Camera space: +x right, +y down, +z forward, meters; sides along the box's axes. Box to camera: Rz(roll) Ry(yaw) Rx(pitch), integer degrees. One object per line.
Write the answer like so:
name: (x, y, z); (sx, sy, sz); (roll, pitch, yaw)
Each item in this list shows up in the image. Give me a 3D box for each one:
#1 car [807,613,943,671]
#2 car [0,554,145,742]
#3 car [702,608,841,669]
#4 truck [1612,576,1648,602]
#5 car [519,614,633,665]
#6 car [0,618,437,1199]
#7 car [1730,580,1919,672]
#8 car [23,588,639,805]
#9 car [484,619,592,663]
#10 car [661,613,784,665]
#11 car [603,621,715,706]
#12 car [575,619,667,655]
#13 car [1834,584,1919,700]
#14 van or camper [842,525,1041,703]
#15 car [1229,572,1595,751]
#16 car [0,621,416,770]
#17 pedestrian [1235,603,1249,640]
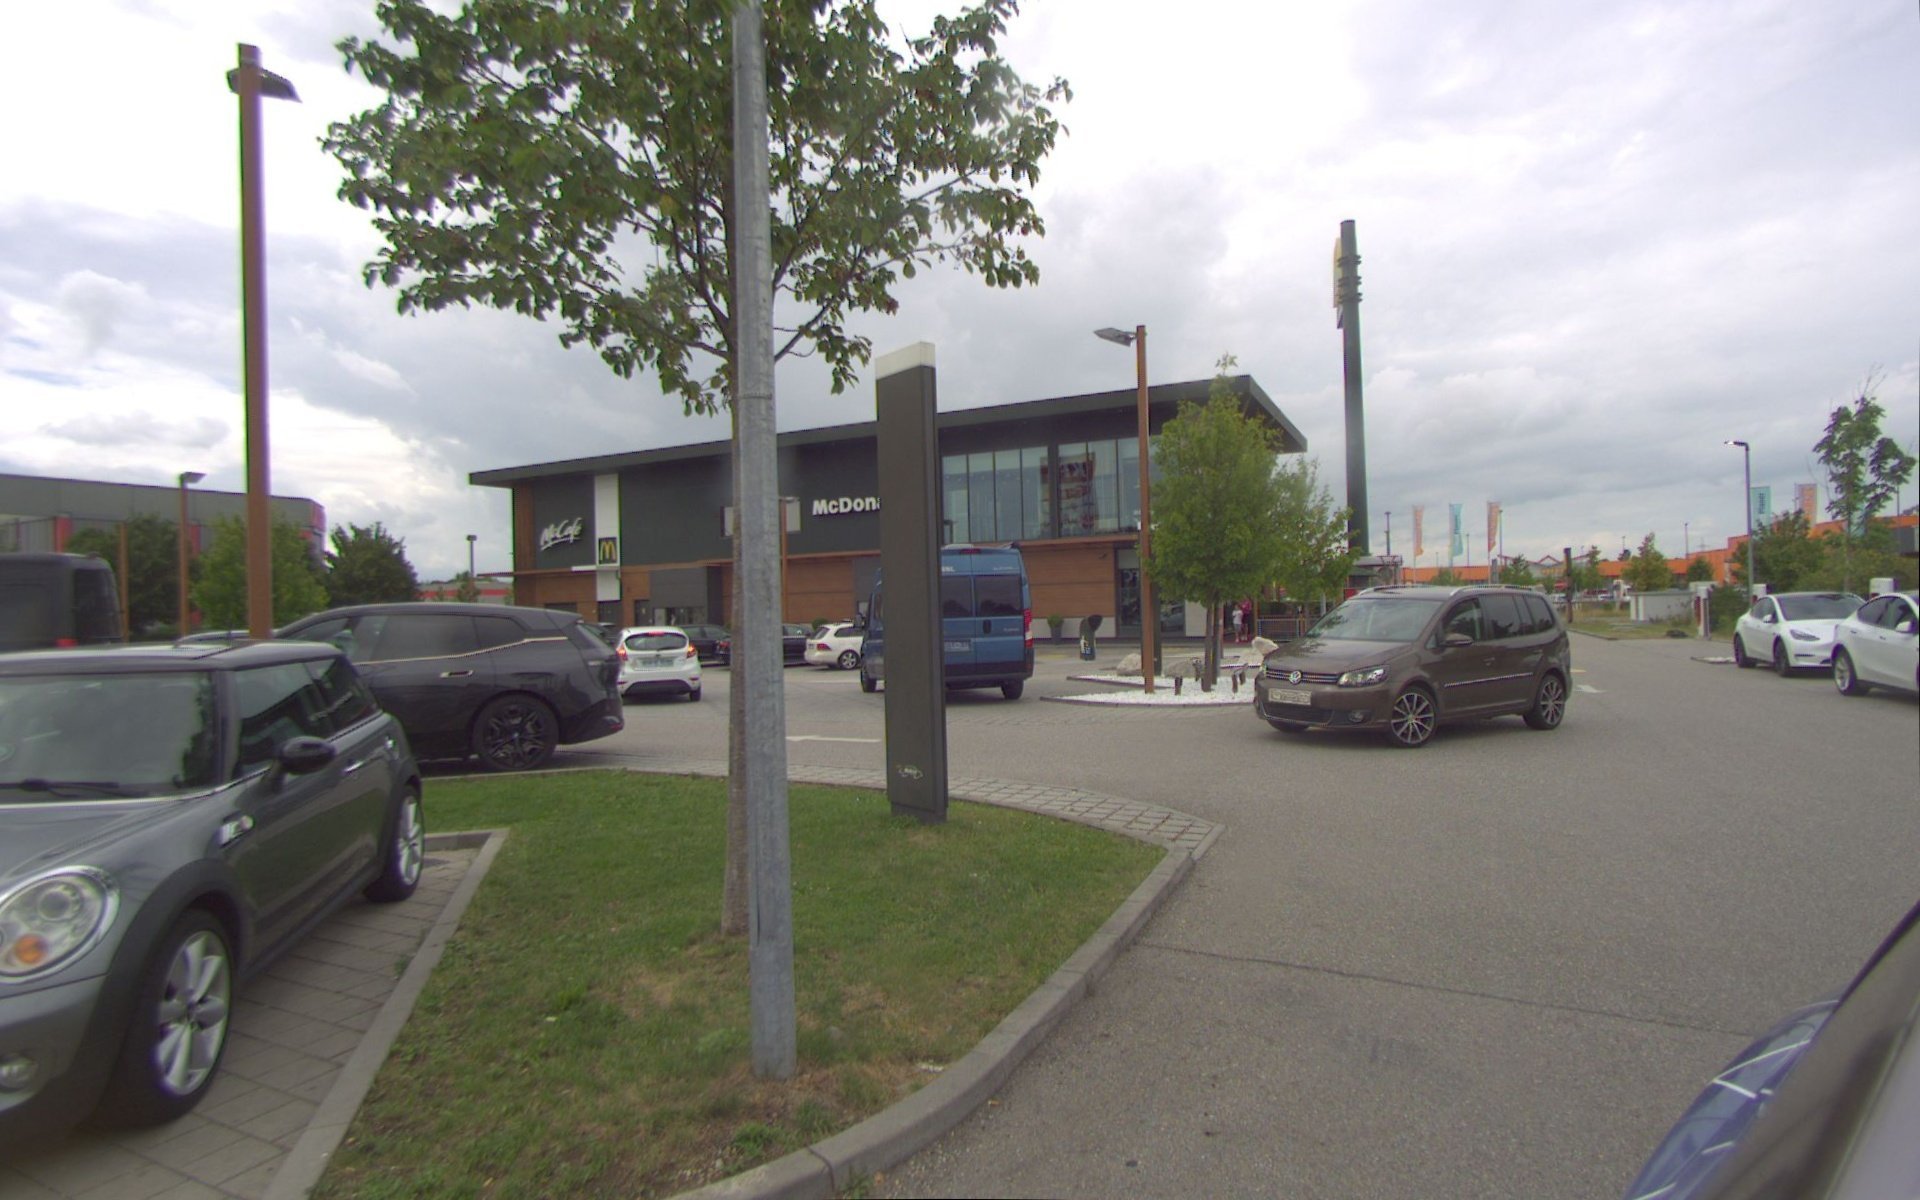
car: (-2.709, 1.291, 31.999); (3.917, 1.505, 1.794); (-3, 1, -19)
car: (-15.844, 0.705, 13.931); (6.866, 2.586, 2.076); (0, -2, -22)
car: (-6.248, 1.225, 33.525); (4.171, 1.682, 1.902); (-3, 1, -23)
truck: (65.133, -1.060, 98.448); (2.126, 2.480, 5.412); (0, 0, 25)
car: (-14.450, 1.444, 38.212); (3.916, 1.772, 2.004); (-1, 0, -20)
car: (-3.334, 0.820, 3.914); (1.576, 1.393, 3.534); (0, 0, -14)
car: (17.556, 0.449, 20.590); (2.052, 1.622, 4.900); (-2, 0, 26)
car: (-5.768, 0.774, 10.059); (4.794, 1.750, 2.004); (0, 0, -21)
car: (-16.640, 1.600, 40.078); (3.823, 1.604, 1.754); (0, 0, -19)
car: (-8.301, 1.328, 35.301); (4.007, 1.594, 1.841); (-2, 0, -18)
car: (-6.022, 1.184, 20.009); (1.804, 1.472, 3.580); (0, -1, -22)
car: (-15.637, 1.658, 46.704); (3.959, 1.525, 1.773); (0, 0, 26)
car: (14.297, 0.547, 14.016); (2.050, 1.573, 4.441); (-2, -1, 24)
van or camper: (-0.639, 0.321, 19.047); (2.127, 2.736, 6.584); (0, -2, -16)
car: (5.192, 0.561, 11.501); (4.108, 1.711, 1.812); (-1, 0, -32)
car: (-8.705, 1.025, 11.982); (3.918, 1.430, 1.835); (-1, -2, -27)
pedestrian: (10.390, 0.785, 37.299); (0.429, 1.328, 0.476); (0, 0, 28)
